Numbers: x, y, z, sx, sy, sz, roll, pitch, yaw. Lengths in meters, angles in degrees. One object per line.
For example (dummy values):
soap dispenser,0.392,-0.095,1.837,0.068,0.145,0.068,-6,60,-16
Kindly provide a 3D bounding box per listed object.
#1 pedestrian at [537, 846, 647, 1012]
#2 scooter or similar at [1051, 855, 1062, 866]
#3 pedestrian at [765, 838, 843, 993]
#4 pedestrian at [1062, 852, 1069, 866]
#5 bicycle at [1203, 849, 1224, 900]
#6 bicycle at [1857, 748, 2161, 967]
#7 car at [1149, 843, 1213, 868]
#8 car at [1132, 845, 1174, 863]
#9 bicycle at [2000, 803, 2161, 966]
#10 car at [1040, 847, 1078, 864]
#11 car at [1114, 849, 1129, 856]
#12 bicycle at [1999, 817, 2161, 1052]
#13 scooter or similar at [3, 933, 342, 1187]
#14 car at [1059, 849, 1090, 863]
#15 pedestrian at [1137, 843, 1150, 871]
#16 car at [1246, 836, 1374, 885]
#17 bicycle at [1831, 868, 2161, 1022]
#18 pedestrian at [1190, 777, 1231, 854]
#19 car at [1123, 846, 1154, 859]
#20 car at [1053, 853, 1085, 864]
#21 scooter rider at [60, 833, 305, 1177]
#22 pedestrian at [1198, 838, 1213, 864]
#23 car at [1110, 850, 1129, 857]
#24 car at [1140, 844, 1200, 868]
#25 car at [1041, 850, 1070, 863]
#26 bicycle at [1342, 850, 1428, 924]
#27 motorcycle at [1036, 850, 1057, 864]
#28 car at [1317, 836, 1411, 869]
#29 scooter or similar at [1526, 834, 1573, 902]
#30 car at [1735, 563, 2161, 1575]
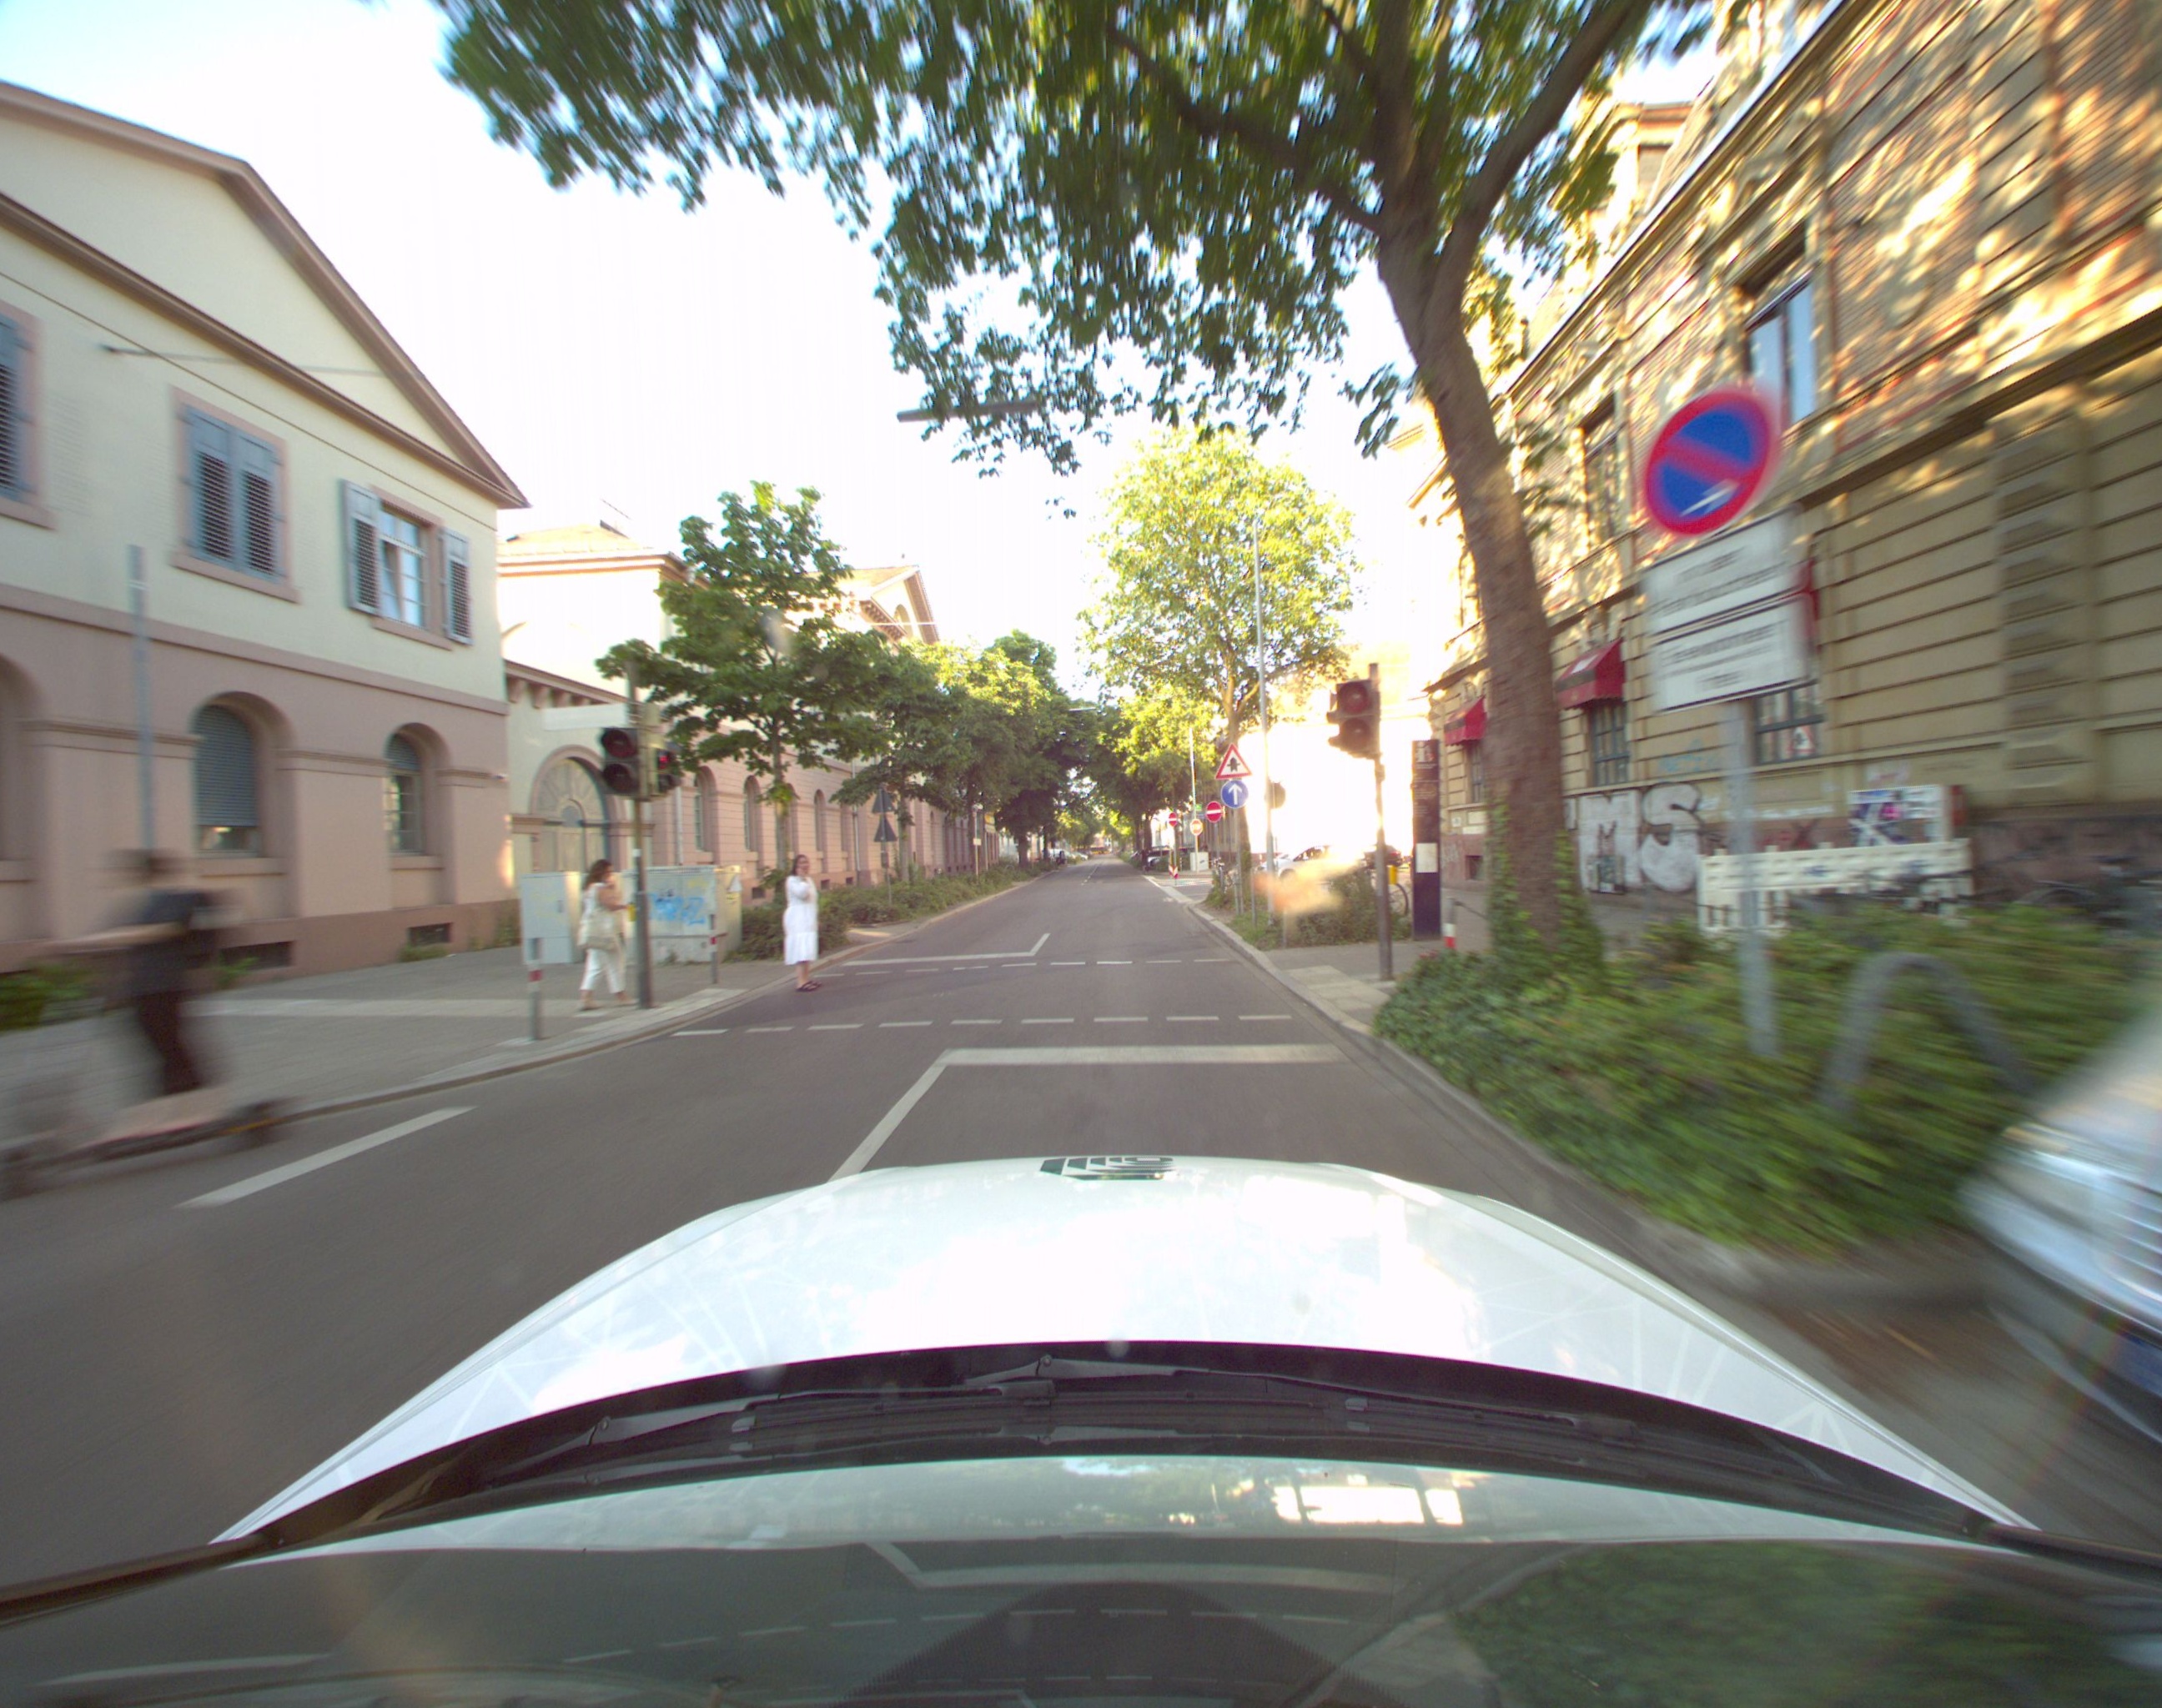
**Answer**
pedestrian,-5.611,0.807,9.360,0.783,1.791,0.776,1,1,28
scooter or similar,-2.540,0.620,83.744,0.890,1.089,0.848,-1,0,12
pedestrian,-3.565,0.758,10.546,0.768,1.888,0.790,-2,0,-10
pedestrian,-1.583,0.496,83.036,0.652,1.395,0.608,-1,-1,2
bicycle,3.712,0.552,22.722,0.413,1.372,1.293,-3,0,13
bicycle,6.199,0.012,5.464,0.383,1.235,1.727,-3,0,4
car,6.702,0.060,55.112,4.094,1.490,1.850,-2,1,0
car,7.172,0.016,80.988,4.001,1.623,1.781,-3,0,0
bicycle,8.189,0.218,6.245,0.383,1.211,1.727,-3,0,4
car,-3.035,0.167,114.301,5.045,2.083,2.264,-3,0,1
car,12.253,-0.545,246.321,3.963,1.837,2.005,-2,0,9
bicycle,5.940,0.418,3.999,0.578,1.239,2.164,-2,0,6
scooter or similar,-5.211,1.101,4.748,0.497,1.145,1.258,-3,-1,40
car,-1.121,0.299,139.732,5.042,2.083,2.265,-3,0,3
pedestrian,4.250,0.208,55.281,0.791,1.868,0.752,-2,0,4
car,8.790,0.225,31.369,4.336,1.654,1.880,-2,0,-9
bicycle,5.187,0.424,4.184,0.578,0.664,2.331,-1,0,2
pedestrian,3.749,-1.100,23.634,1.039,2.146,1.064,-1,-1,2
car,8.754,-0.257,124.179,4.574,1.761,2.223,-3,0,2
car,-2.011,0.757,134.358,5.040,1.617,2.266,-3,0,5
scooter rider,-5.209,0.789,4.756,0.489,1.791,0.880,-2,0,40
pedestrian,8.688,-0.224,56.823,0.939,1.706,0.783,-2,1,3
car,8.477,-0.105,179.174,3.974,1.442,1.697,-3,0,0
car,6.552,0.146,60.089,4.177,1.480,1.853,-4,0,2
car,-3.401,0.312,108.912,3.716,1.508,1.872,-3,0,-2
bicycle,5.179,0.527,14.034,0.522,1.152,2.247,-2,0,-2
motorcycle,-3.352,0.296,79.087,1.912,1.258,0.591,-3,0,1
car,14.830,-0.084,42.740,4.367,1.542,1.878,-2,0,28
scooter or similar,8.557,0.237,14.897,0.250,1.194,1.093,-2,1,3
car,4.278,0.302,1.515,4.526,1.914,1.950,-3,0,-1
